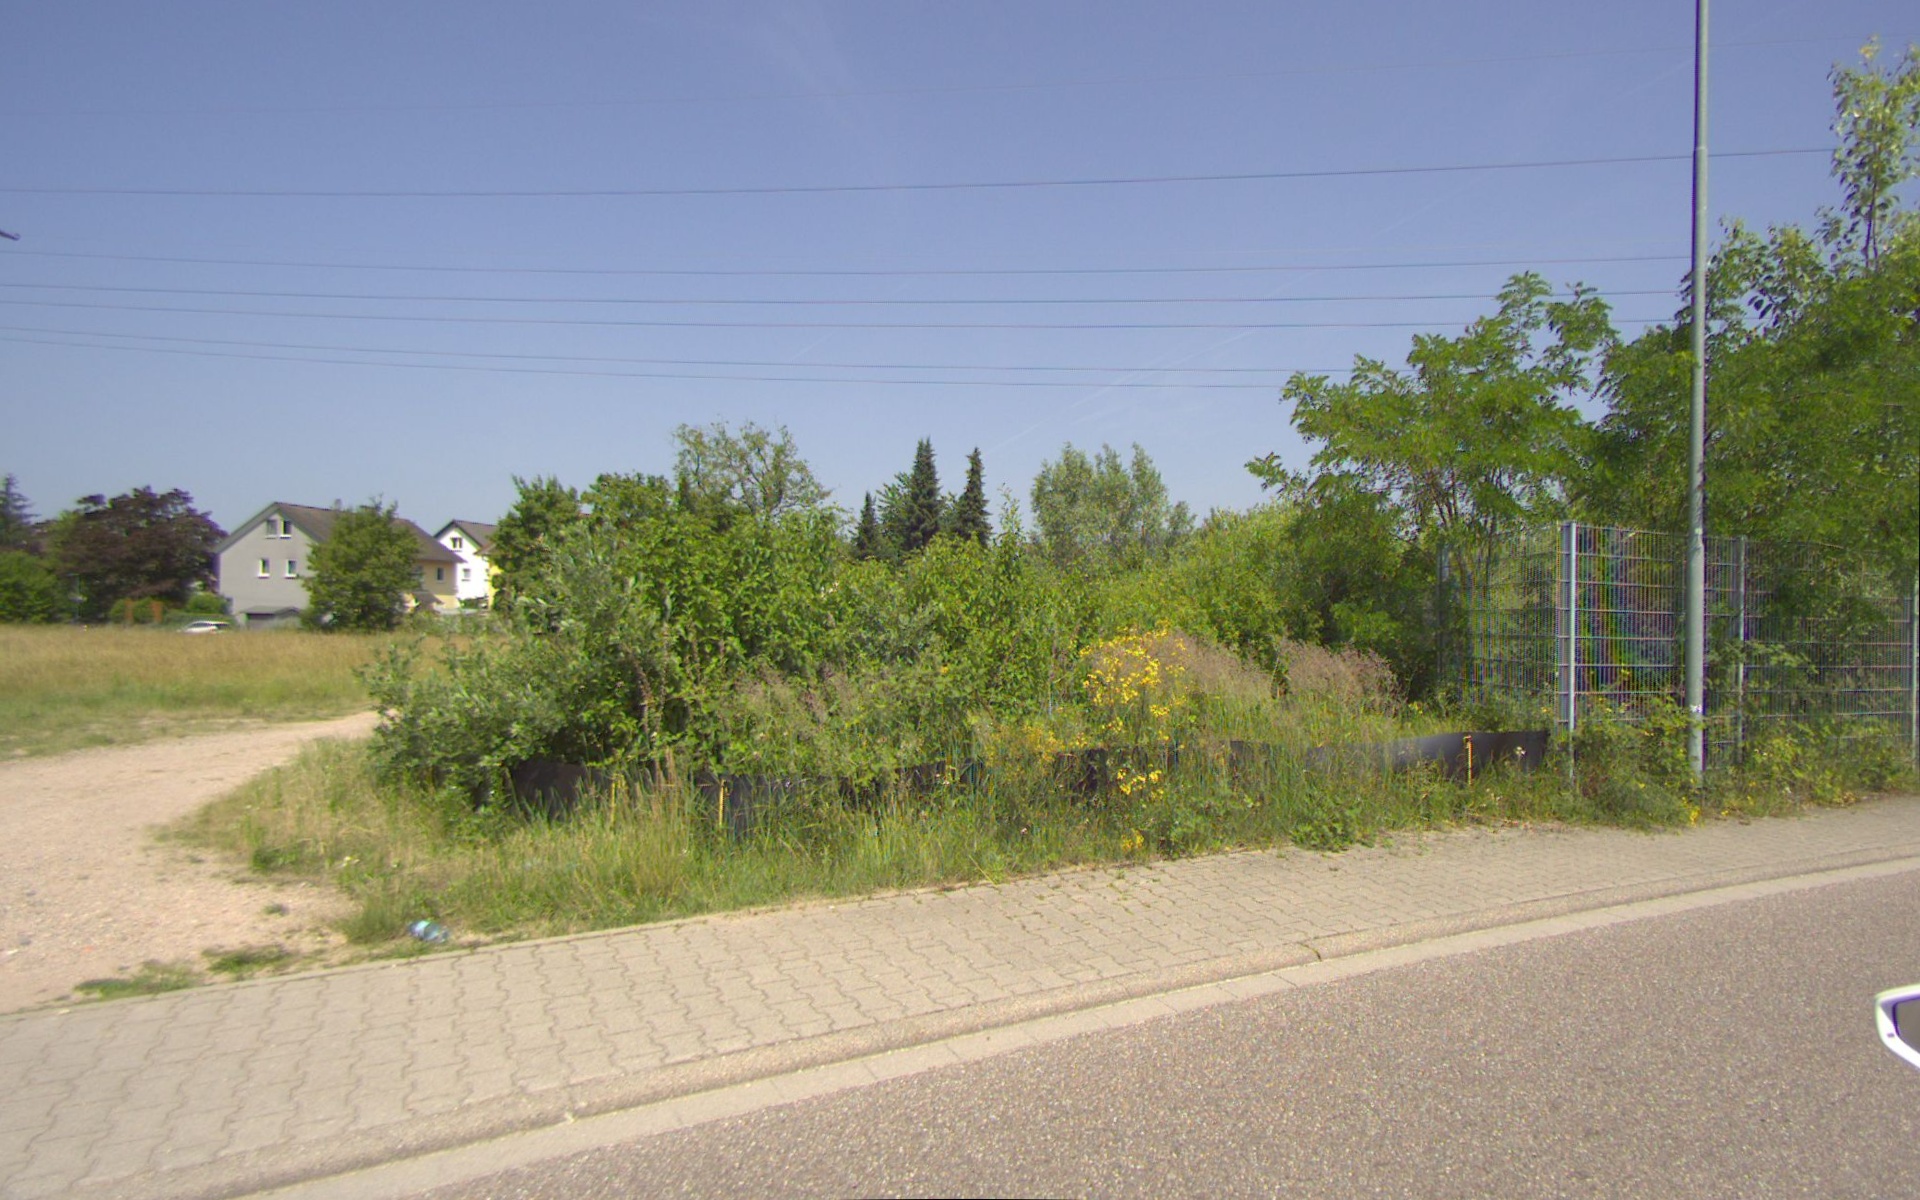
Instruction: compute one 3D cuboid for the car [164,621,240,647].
[{"bbox_3d":[-50.613,2.245,67.124,3.919,1.632,2.001,1,-1,14],"label":"car"}]
